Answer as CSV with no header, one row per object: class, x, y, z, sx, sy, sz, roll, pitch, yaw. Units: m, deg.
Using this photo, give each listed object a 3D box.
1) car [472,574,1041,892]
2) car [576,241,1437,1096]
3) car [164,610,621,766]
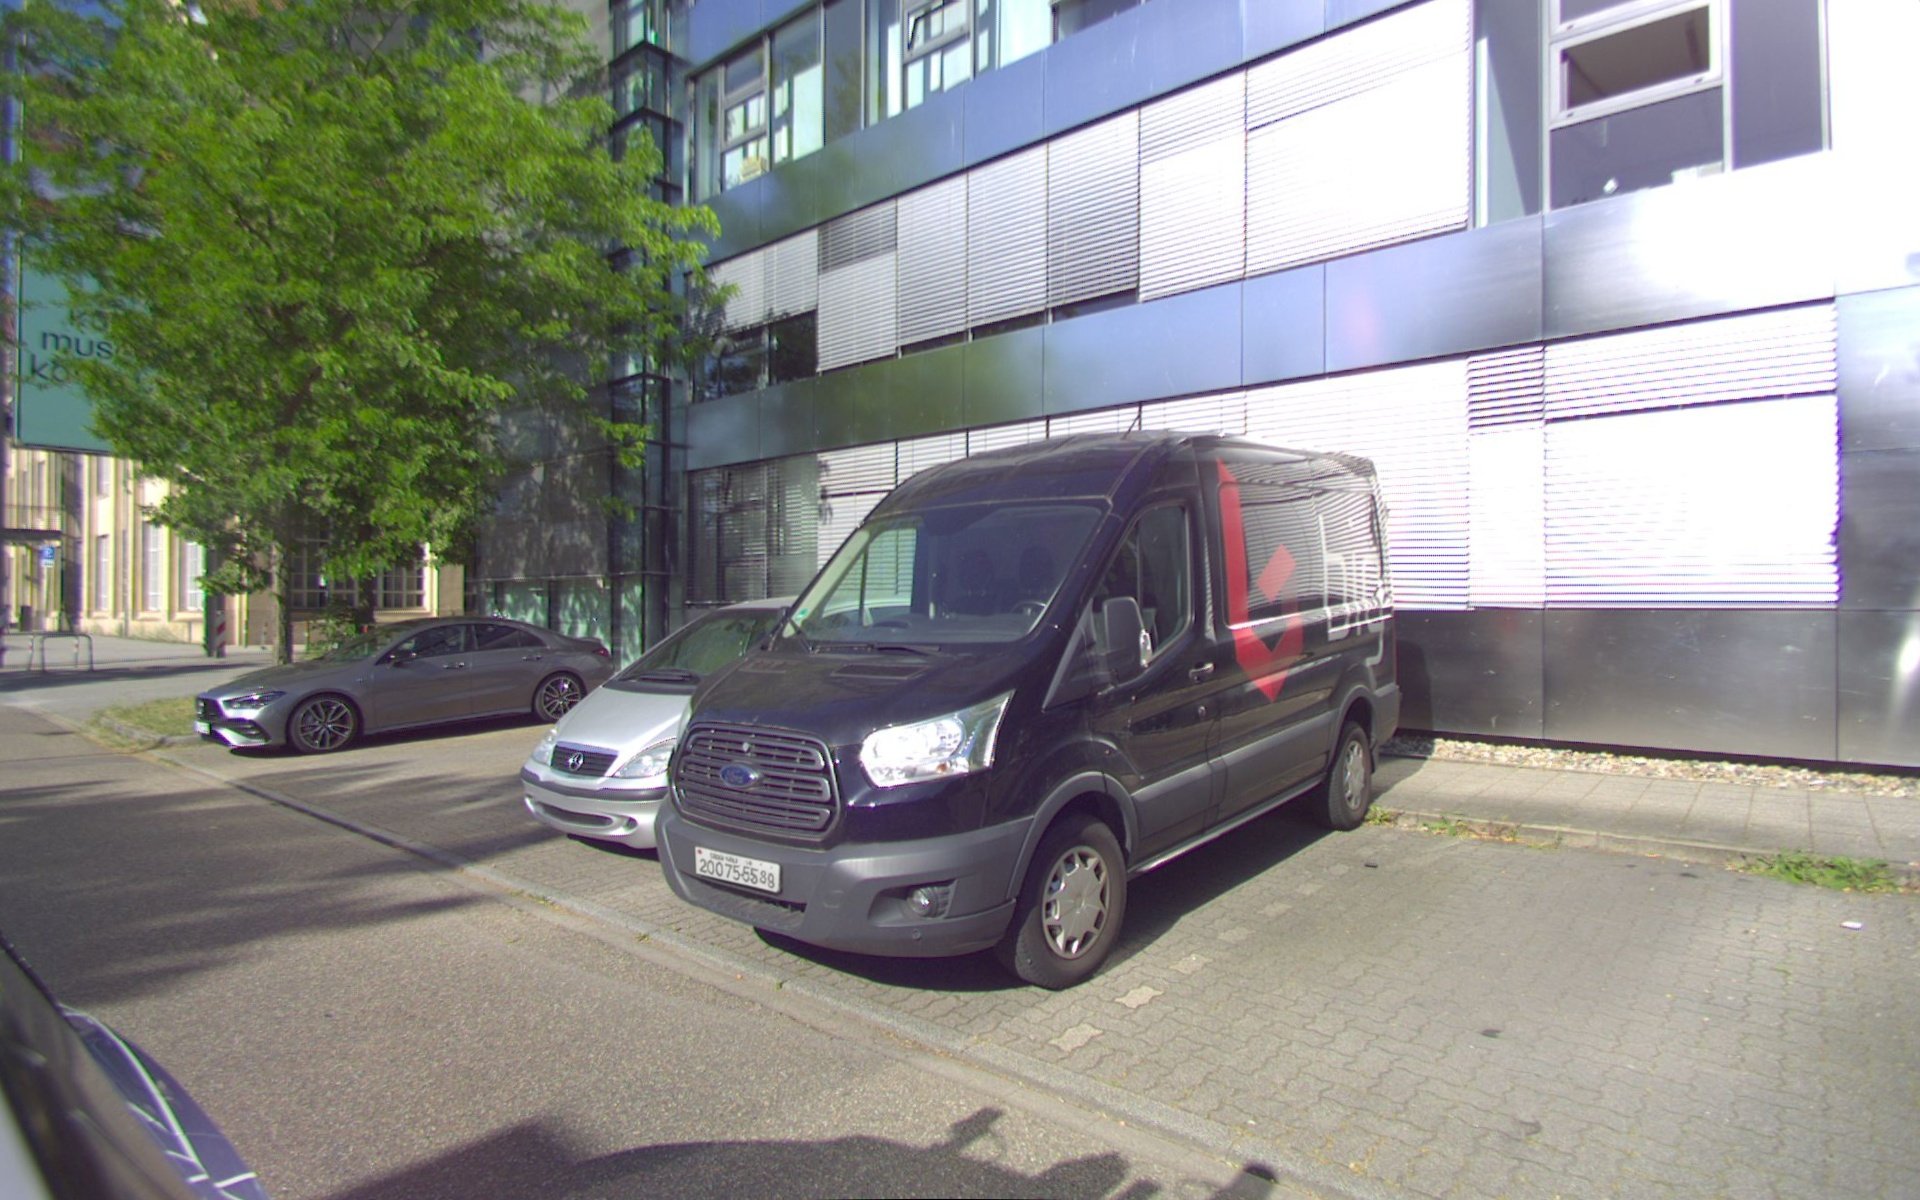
car,-1.260,0.686,7.510,1.890,1.657,3.794,-1,1,39
car,0.848,0.193,5.930,2.230,2.642,5.399,-1,0,40
car,-6.699,0.901,12.396,1.891,1.360,4.489,-1,2,40
